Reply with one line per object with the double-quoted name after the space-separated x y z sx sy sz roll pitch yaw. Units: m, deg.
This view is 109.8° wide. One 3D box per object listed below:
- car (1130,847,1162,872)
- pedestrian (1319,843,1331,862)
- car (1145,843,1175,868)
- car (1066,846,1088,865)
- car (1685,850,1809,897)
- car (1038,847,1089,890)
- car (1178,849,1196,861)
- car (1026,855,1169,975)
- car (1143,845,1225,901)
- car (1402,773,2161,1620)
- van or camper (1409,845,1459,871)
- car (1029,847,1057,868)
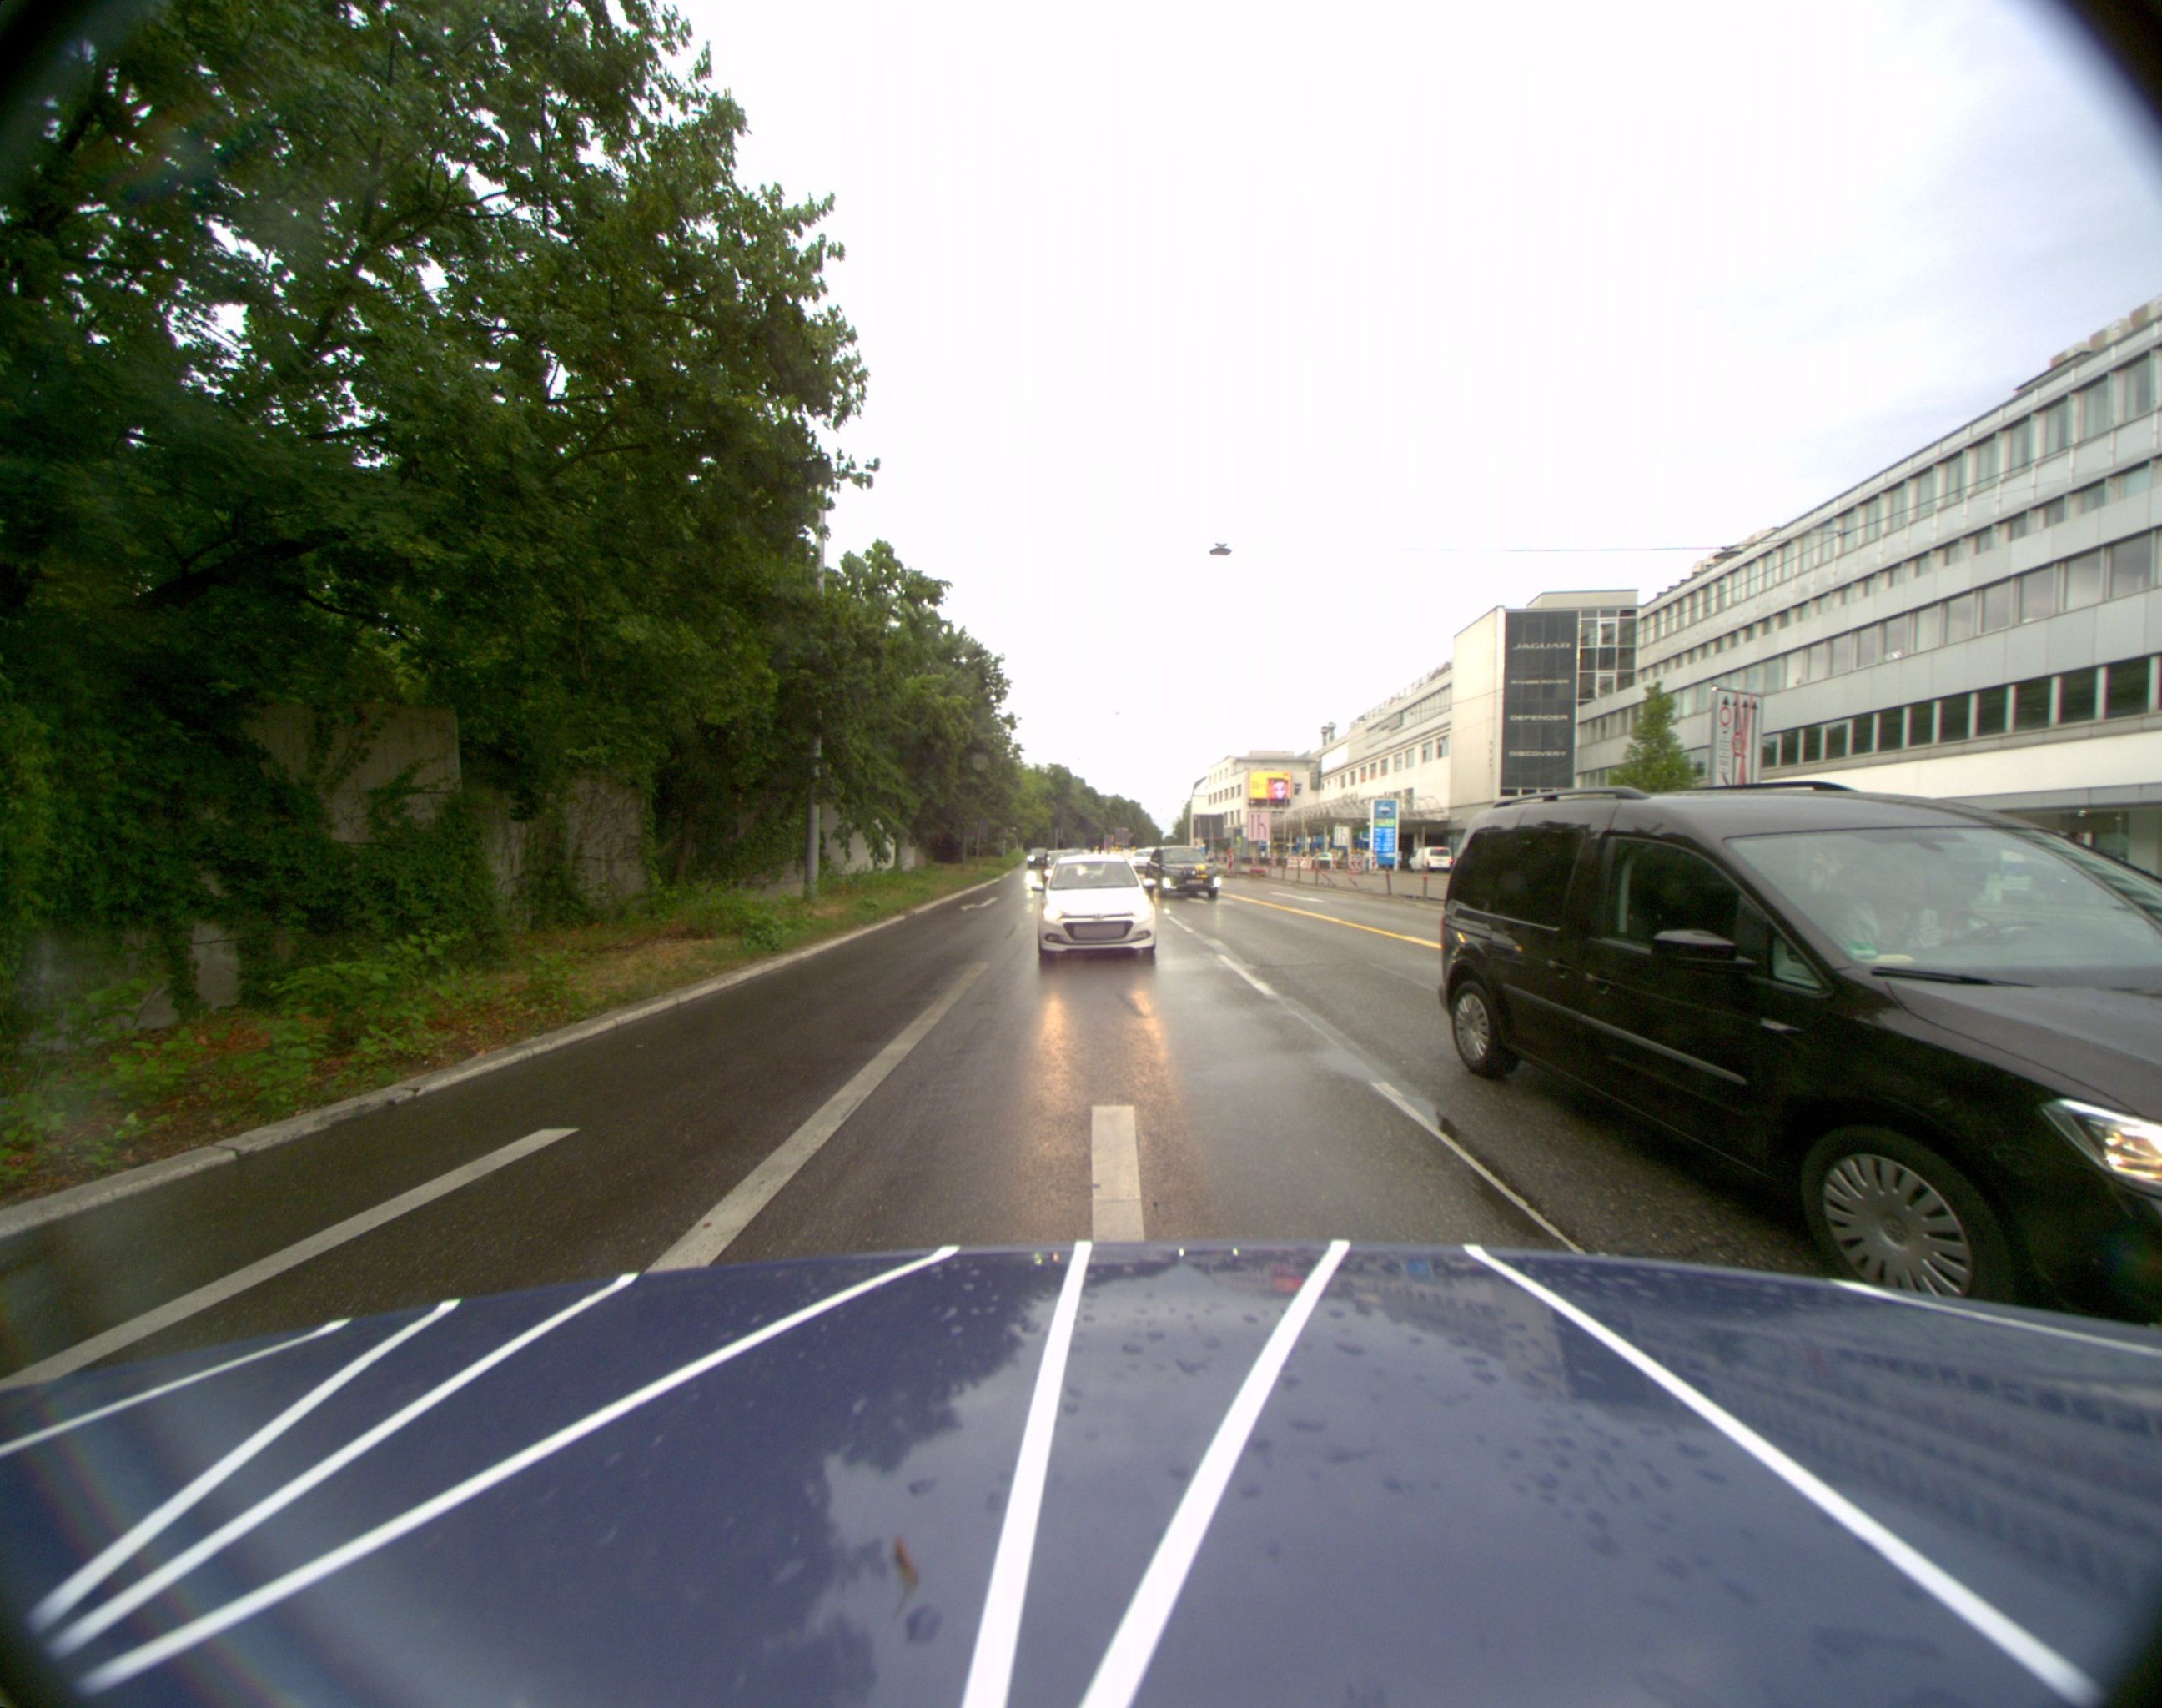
4.073 0.309 48.272 1.771 1.407 4.333 -2 1 2 "car"
23.611 -0.156 73.607 0.895 1.804 0.941 -2 1 5 "pedestrian"
5.662 0.088 54.944 1.771 1.628 4.333 -2 1 2 "car"
-0.371 0.089 69.528 1.814 1.590 4.333 -2 1 2 "car"
28.381 0.768 32.579 1.922 1.805 4.166 -2 1 6 "car"
-0.654 0.530 31.238 1.814 1.590 4.333 -2 1 2 "car"
14.473 0.163 103.656 1.806 1.523 3.763 3 0 -1 "car"
0.275 0.808 12.078 1.814 1.444 4.333 -2 1 2 "car"
3.236 0.535 24.770 1.814 1.590 4.331 -2 1 -3 "car"
3.274 0.674 3.347 1.905 1.804 4.430 -2 1 2 "car"
26.978 0.238 58.277 1.940 1.913 4.685 0 1 4 "van or camper"
-3.034 0.265 61.426 1.814 1.590 4.333 -2 1 2 "car"
